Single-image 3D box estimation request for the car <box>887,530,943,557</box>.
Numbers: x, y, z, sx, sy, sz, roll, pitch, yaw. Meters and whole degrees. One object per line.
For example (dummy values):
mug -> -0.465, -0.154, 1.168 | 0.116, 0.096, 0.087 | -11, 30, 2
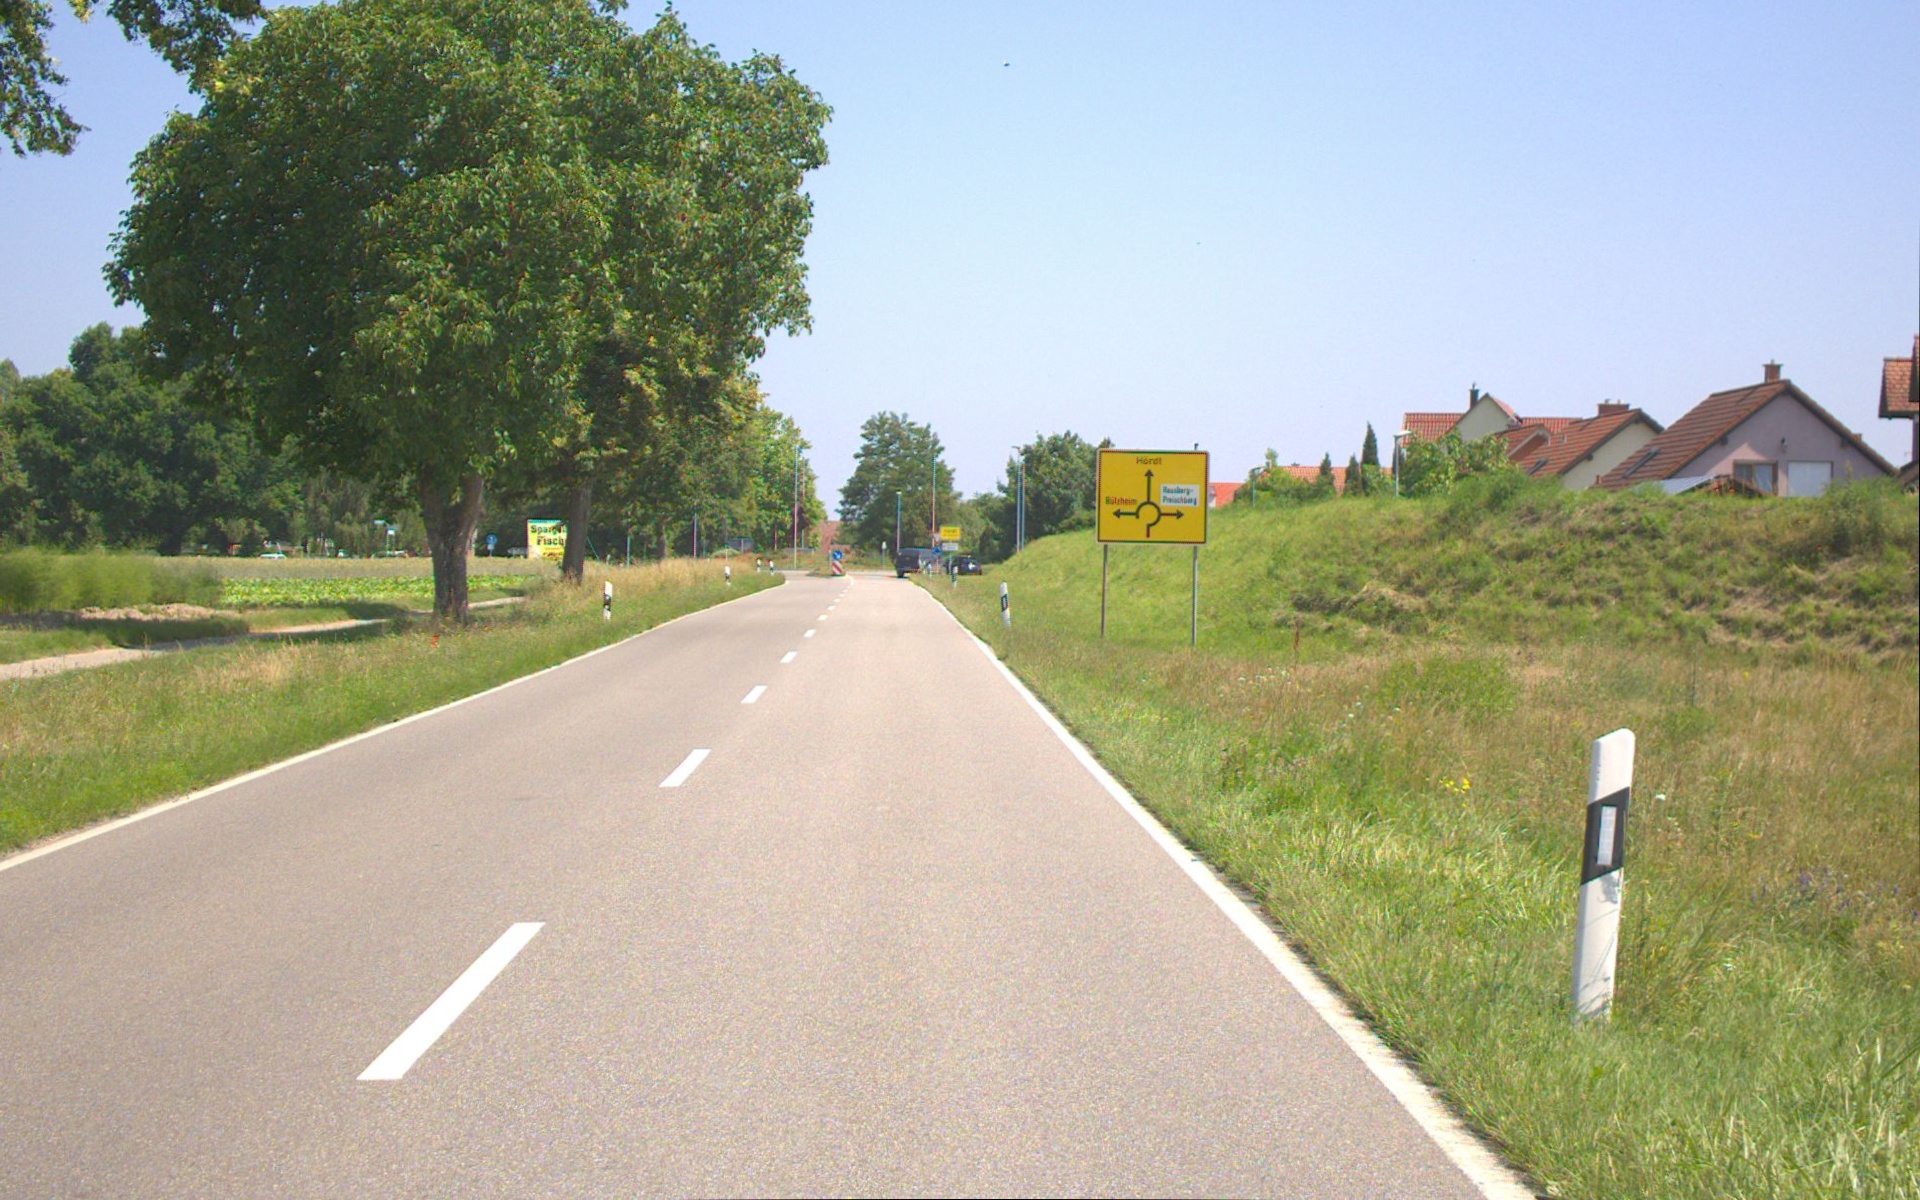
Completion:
car -> -2.649, -3.341, 204.340 | 1.841, 1.531, 3.605 | 1, 1, 27
